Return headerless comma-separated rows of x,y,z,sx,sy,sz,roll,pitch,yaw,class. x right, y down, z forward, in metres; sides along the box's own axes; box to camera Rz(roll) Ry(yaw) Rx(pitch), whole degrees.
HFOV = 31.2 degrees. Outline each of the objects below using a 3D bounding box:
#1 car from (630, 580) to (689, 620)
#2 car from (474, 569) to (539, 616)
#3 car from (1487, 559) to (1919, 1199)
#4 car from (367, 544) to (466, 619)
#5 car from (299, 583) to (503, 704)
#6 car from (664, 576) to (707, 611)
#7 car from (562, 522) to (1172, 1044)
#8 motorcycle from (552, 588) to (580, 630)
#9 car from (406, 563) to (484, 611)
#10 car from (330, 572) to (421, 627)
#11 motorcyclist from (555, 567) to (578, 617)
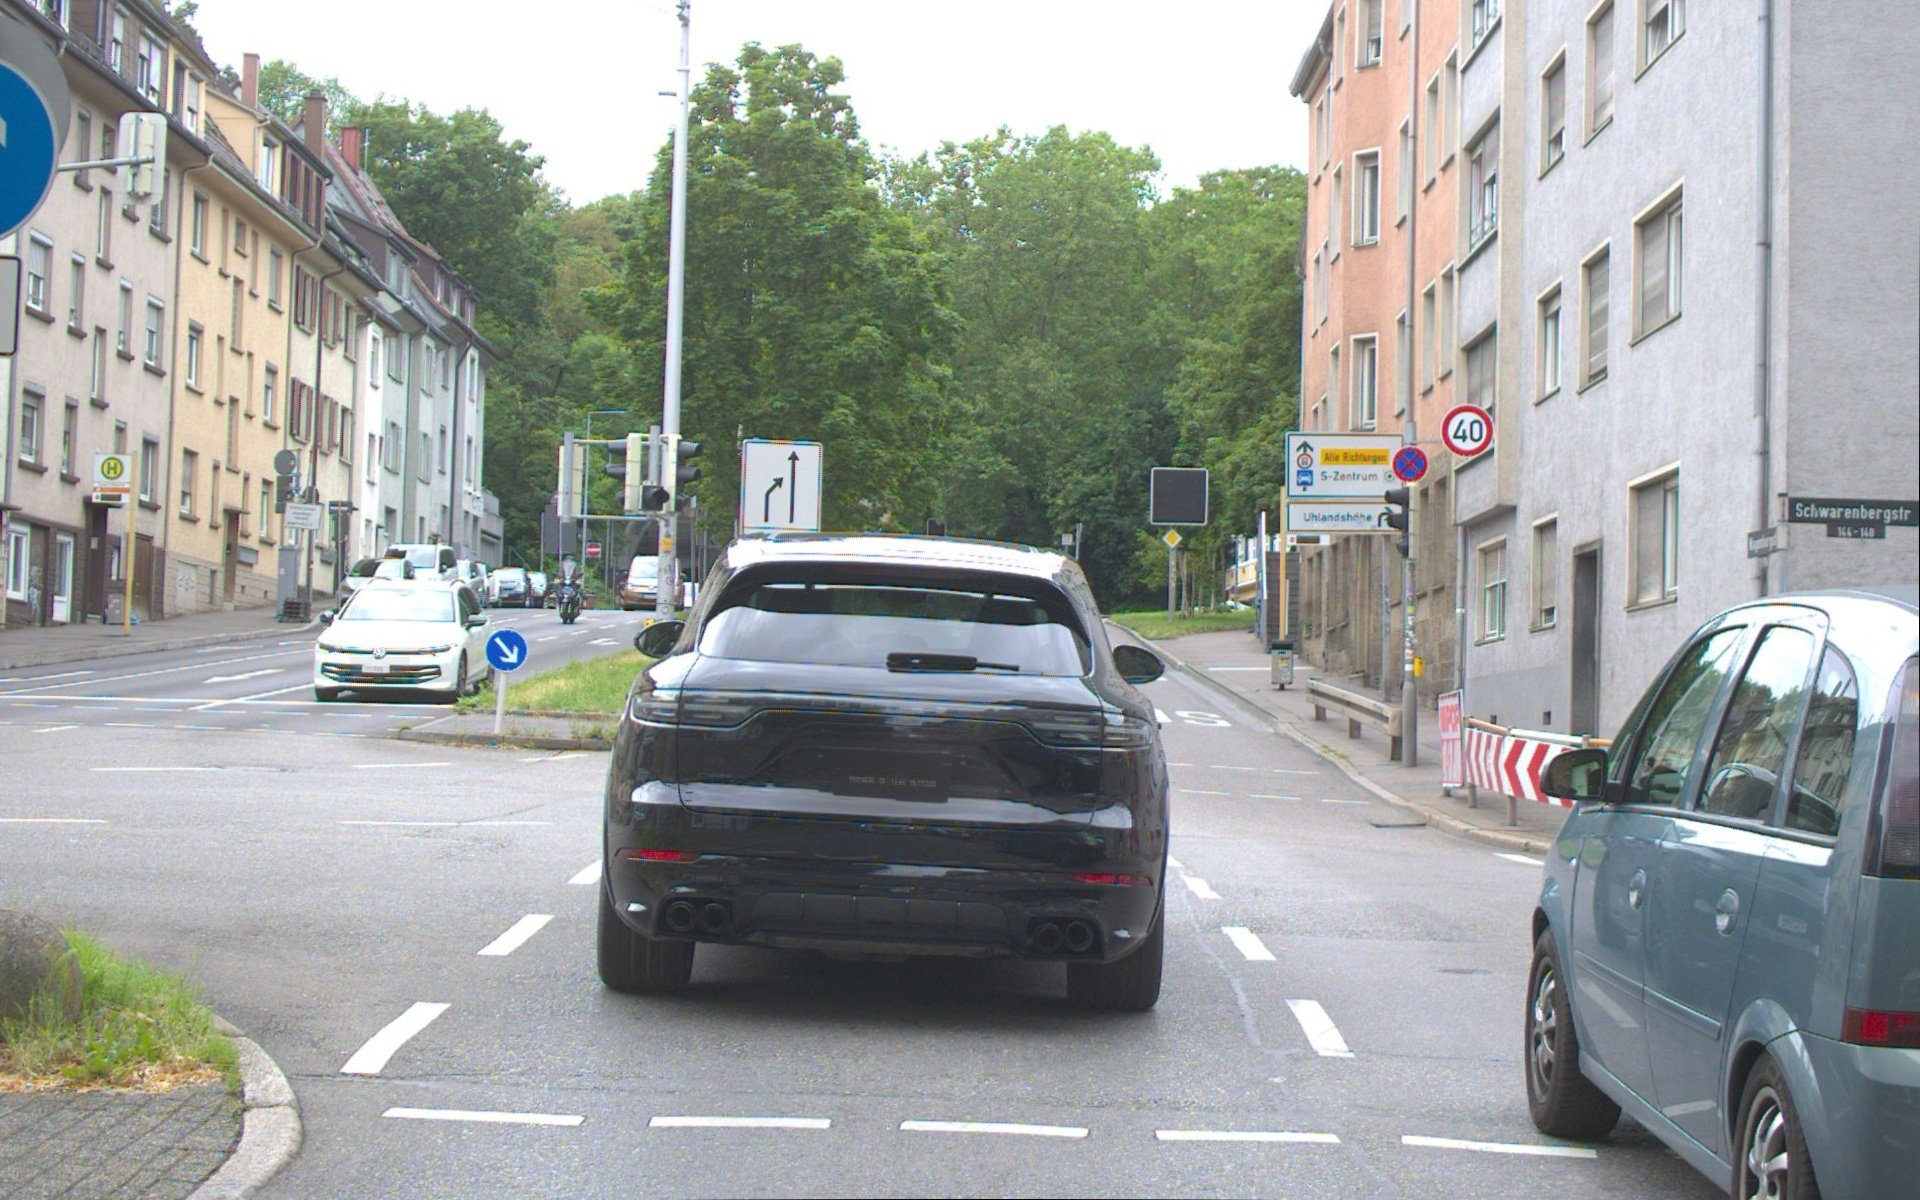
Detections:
-9.664,-0.014,110.717,1.551,1.253,3.662,1,0,0,car
-15.414,-0.268,116.923,1.689,1.533,3.813,1,0,0,car
2.415,0.738,8.268,1.628,1.592,3.669,2,0,-1,car
-15.280,-0.529,96.860,2.016,2.038,4.667,1,0,0,car
-6.868,0.501,42.609,1.862,1.383,4.094,1,0,0,car
-11.216,-0.264,140.442,1.489,1.371,3.244,1,0,0,car
-0.328,0.582,13.172,1.955,1.669,4.000,1,0,-1,car
-9.794,0.221,85.460,0.511,1.037,1.389,1,0,0,motorcycle
-15.315,-0.388,102.426,1.739,1.382,3.813,1,0,0,car
-15.425,-0.021,90.891,1.739,1.382,3.813,1,0,0,car
-9.787,-0.194,85.531,0.511,1.222,0.467,1,0,0,motorcyclist
